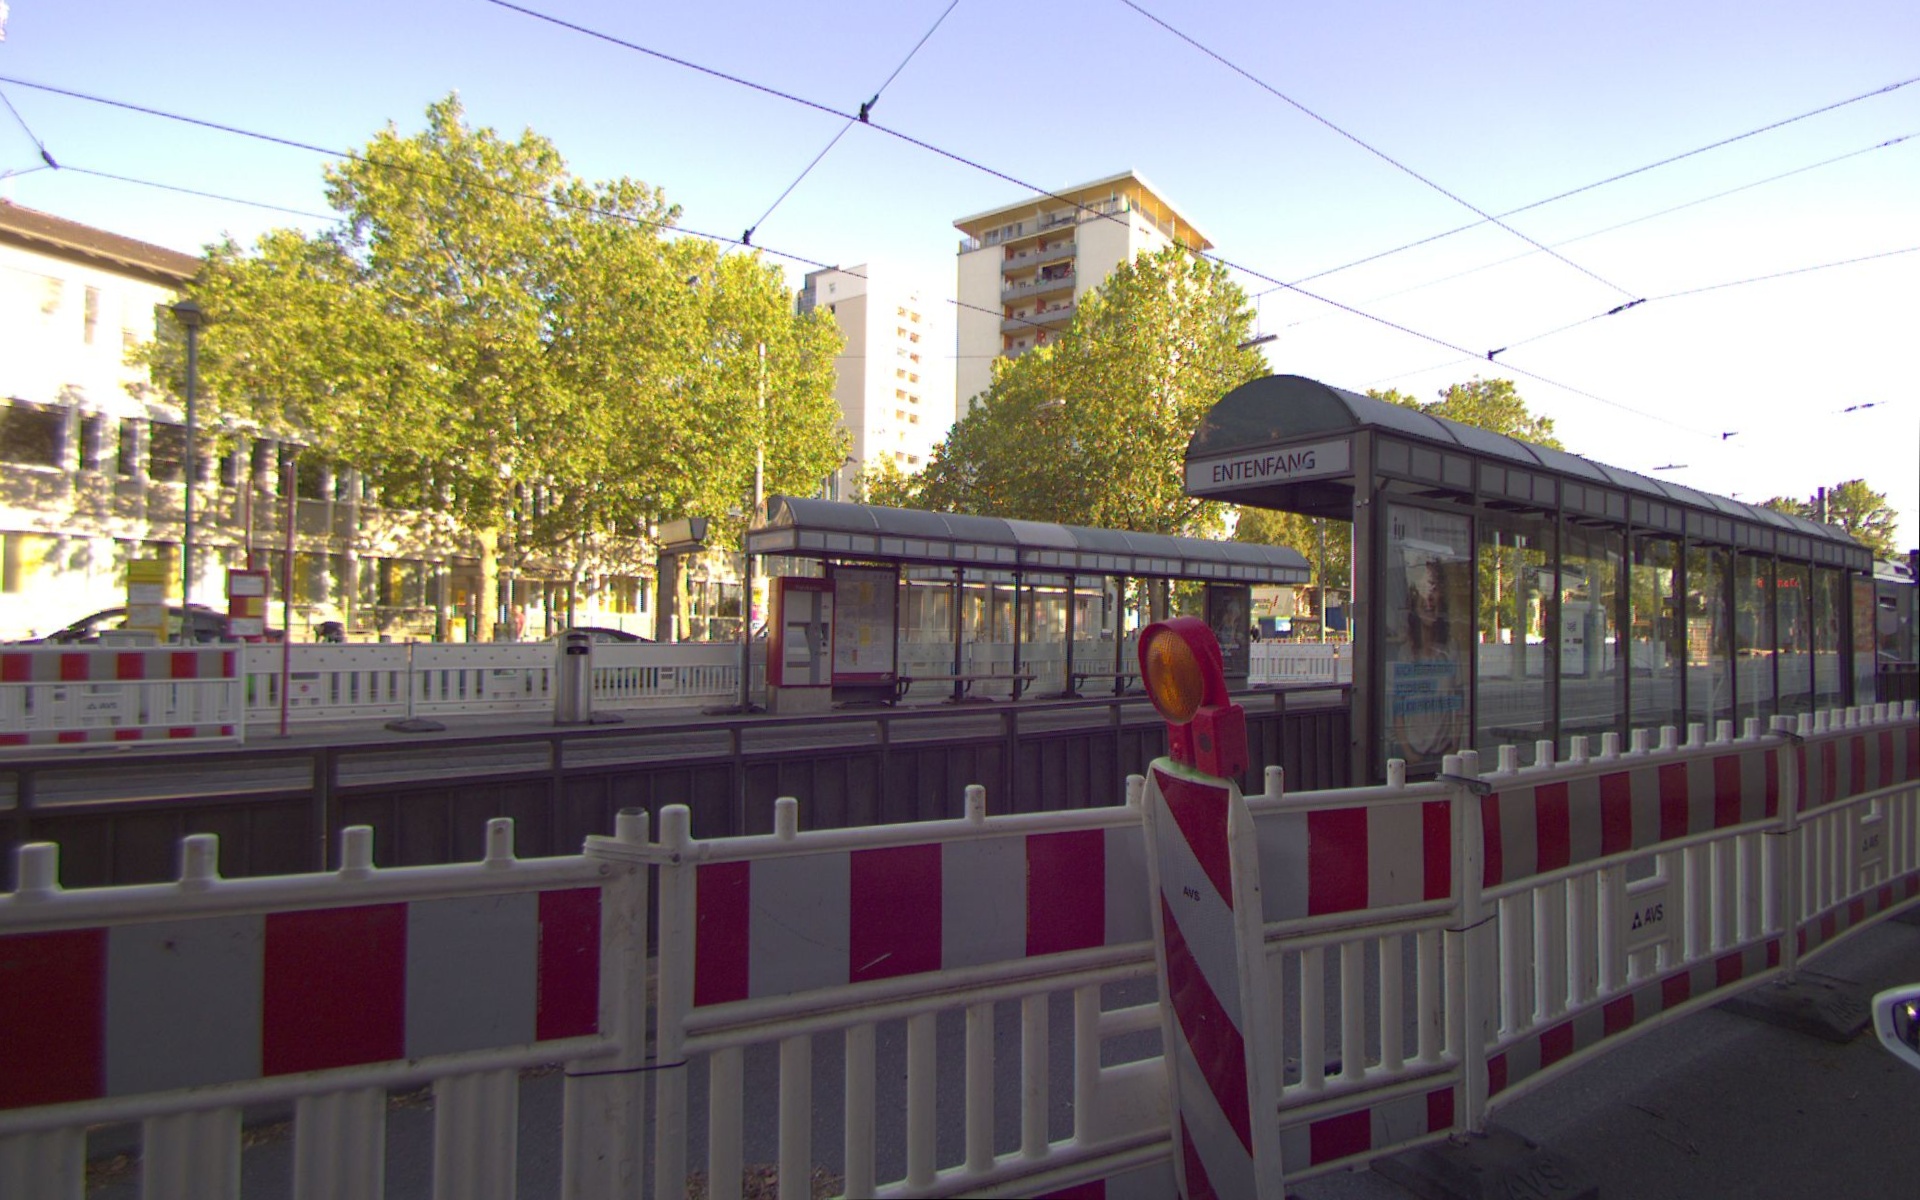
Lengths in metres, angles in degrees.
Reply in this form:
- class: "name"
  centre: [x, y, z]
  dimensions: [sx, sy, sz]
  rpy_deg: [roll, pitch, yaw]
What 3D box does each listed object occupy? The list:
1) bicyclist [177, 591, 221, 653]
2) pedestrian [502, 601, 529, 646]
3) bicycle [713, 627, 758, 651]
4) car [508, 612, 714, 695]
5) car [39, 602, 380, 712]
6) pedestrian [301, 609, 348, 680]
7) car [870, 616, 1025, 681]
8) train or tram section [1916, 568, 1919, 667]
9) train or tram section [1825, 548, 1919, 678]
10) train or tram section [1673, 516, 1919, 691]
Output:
- class: "bicyclist"
  centre: [-21.726, 0.624, 28.680]
  dimensions: [0.662, 1.750, 0.763]
  rpy_deg: [0, -1, 32]
- class: "pedestrian"
  centre: [-14.578, 0.772, 32.957]
  dimensions: [0.577, 1.474, 0.584]
  rpy_deg: [0, -2, 36]
- class: "bicycle"
  centre: [-10.420, 1.803, 46.678]
  dimensions: [0.666, 1.045, 2.185]
  rpy_deg: [0, -1, 32]
- class: "car"
  centre: [-7.709, 1.155, 22.262]
  dimensions: [3.958, 1.683, 1.982]
  rpy_deg: [2, -2, -34]
- class: "car"
  centre: [-12.798, 0.950, 17.530]
  dimensions: [4.511, 1.683, 1.982]
  rpy_deg: [2, -2, -34]
- class: "pedestrian"
  centre: [-16.827, 1.173, 26.601]
  dimensions: [0.921, 1.858, 0.691]
  rpy_deg: [2, -2, -43]
- class: "car"
  centre: [-0.330, 1.327, 28.051]
  dimensions: [3.959, 1.683, 1.901]
  rpy_deg: [2, -2, -35]
- class: "train or tram section"
  centre: [39.928, 0.794, 38.804]
  dimensions: [11.479, 3.580, 2.666]
  rpy_deg: [2, 0, -38]
- class: "train or tram section"
  centre: [30.777, 0.502, 31.958]
  dimensions: [11.477, 3.606, 2.666]
  rpy_deg: [2, 0, -38]
- class: "train or tram section"
  centre: [21.639, 0.218, 25.018]
  dimensions: [11.657, 3.581, 2.668]
  rpy_deg: [2, 0, -36]
